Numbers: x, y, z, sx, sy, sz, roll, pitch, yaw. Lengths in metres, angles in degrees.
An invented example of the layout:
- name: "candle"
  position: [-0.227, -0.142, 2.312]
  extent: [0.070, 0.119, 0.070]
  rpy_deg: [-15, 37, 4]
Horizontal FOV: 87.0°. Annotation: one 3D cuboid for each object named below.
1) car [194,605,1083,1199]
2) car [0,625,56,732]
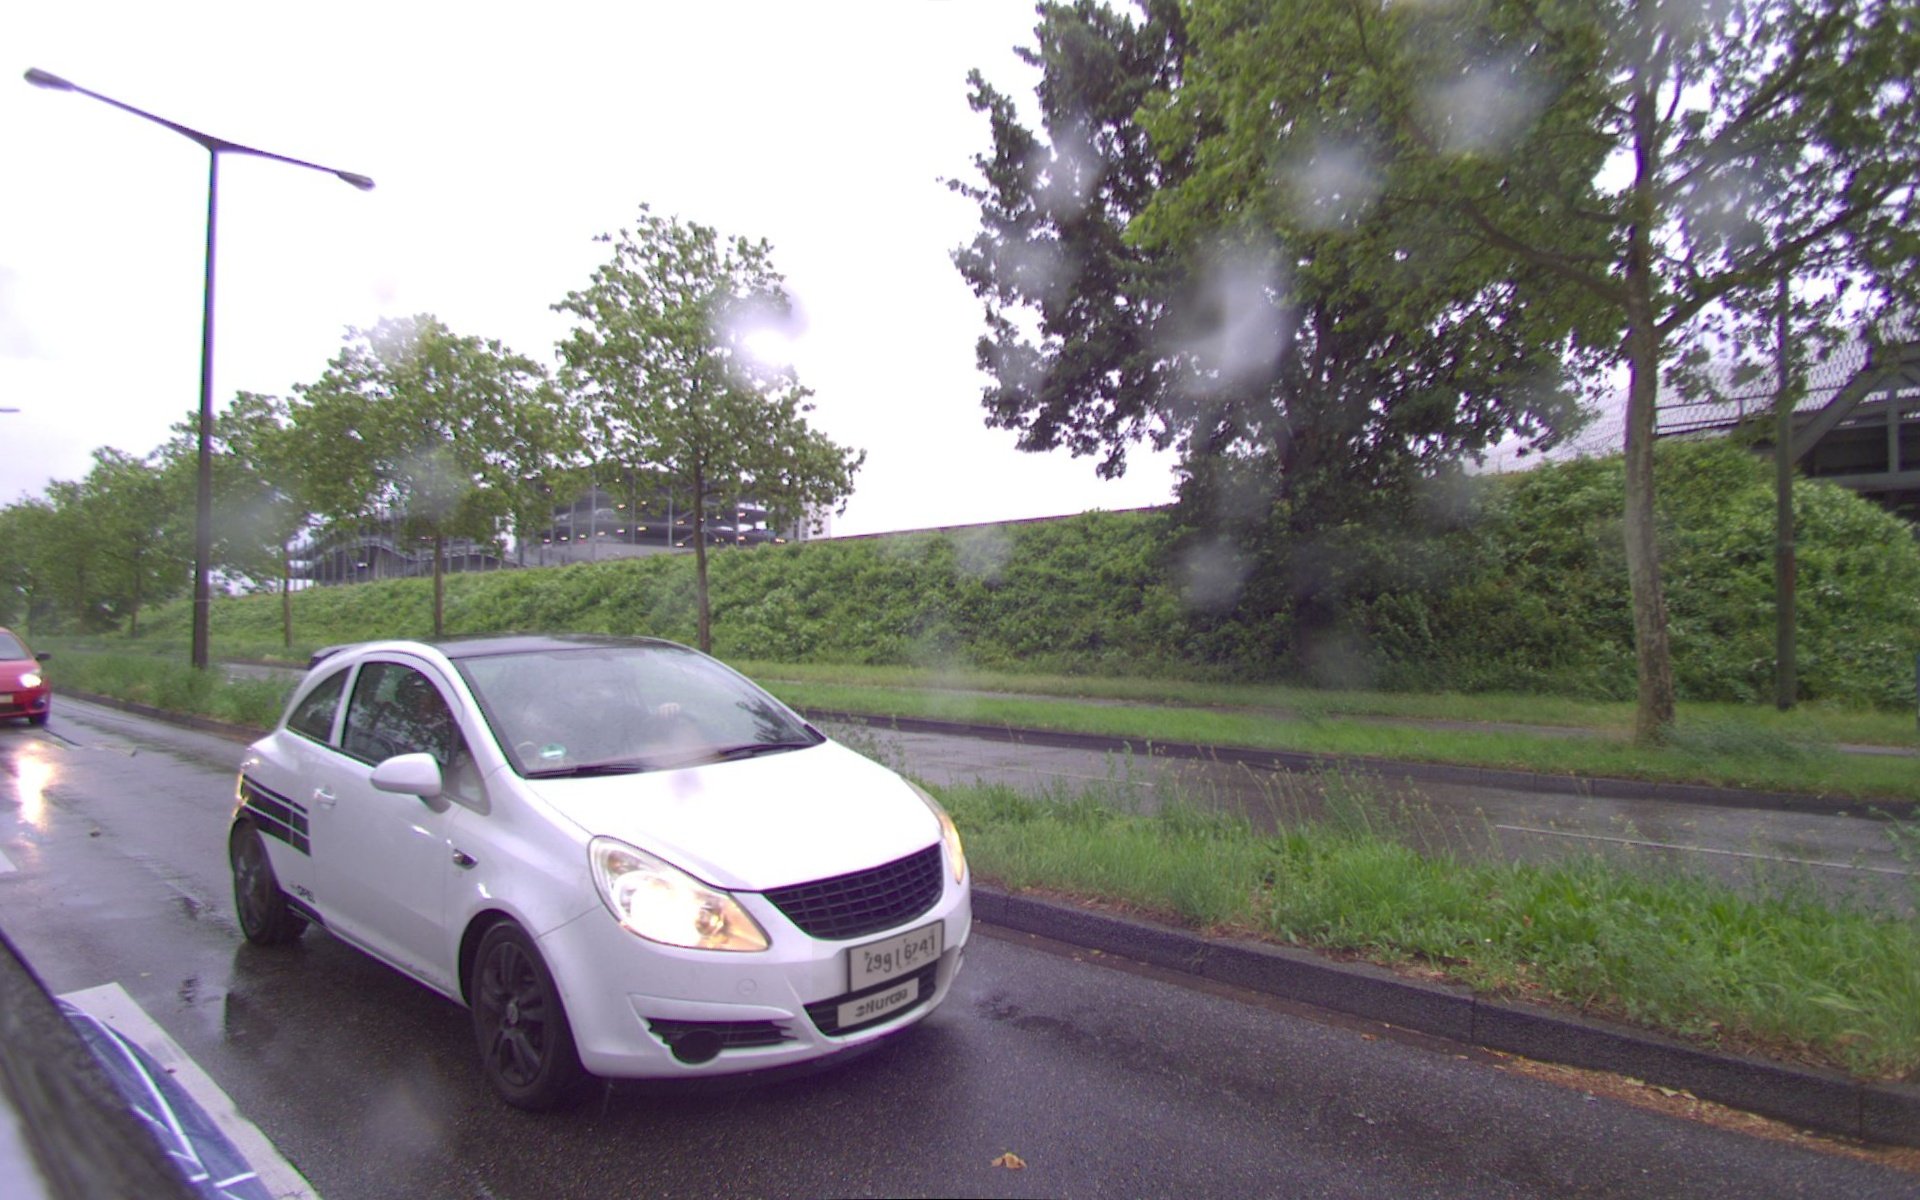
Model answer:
- name: "car"
  position: [-1.634, 0.766, 4.240]
  extent: [4.007, 1.387, 1.661]
  rpy_deg: [-2, -1, 40]
- name: "car"
  position: [-15.191, 1.155, 15.282]
  extent: [4.088, 1.476, 1.702]
  rpy_deg: [-2, -1, 40]
